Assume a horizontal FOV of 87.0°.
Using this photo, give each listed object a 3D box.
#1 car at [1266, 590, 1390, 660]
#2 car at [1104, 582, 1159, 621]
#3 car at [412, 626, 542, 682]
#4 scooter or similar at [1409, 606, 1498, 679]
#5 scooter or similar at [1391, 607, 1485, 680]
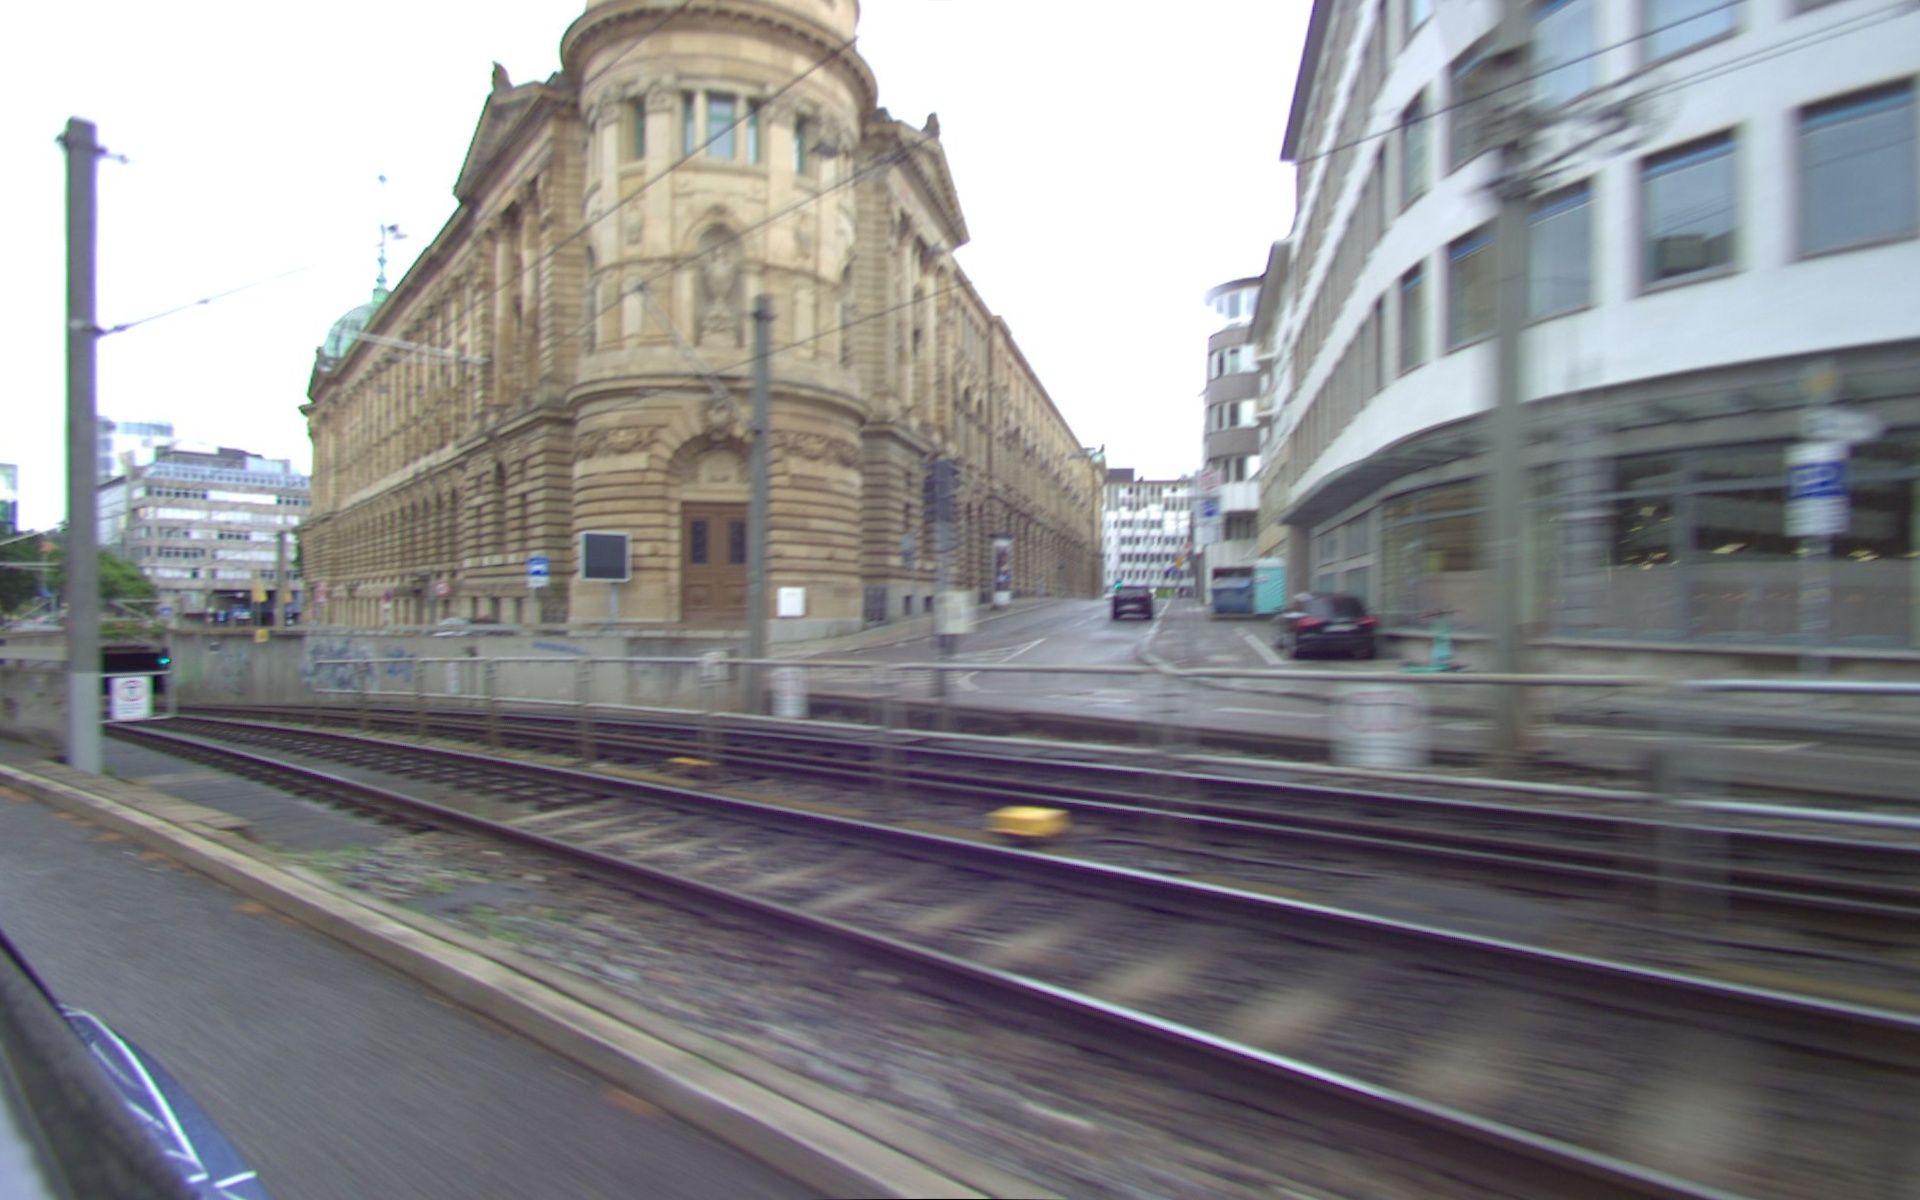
[{"bbox_3d":[8.248,0.503,23.050,1.764,1.408,4.316,-1,1,8],"label":"car"},{"bbox_3d":[7.678,0.045,45.122,1.982,1.652,3.980,-1,1,16],"label":"car"},{"bbox_3d":[-14.161,1.527,29.592,3.998,1.397,1.973,-1,1,41],"label":"car"},{"bbox_3d":[8.740,0.728,17.995,0.404,1.209,1.565,-1,0,-20],"label":"scooter or similar"},{"bbox_3d":[8.336,0.731,17.710,0.404,1.209,1.565,-1,0,-26],"label":"scooter or similar"}]
